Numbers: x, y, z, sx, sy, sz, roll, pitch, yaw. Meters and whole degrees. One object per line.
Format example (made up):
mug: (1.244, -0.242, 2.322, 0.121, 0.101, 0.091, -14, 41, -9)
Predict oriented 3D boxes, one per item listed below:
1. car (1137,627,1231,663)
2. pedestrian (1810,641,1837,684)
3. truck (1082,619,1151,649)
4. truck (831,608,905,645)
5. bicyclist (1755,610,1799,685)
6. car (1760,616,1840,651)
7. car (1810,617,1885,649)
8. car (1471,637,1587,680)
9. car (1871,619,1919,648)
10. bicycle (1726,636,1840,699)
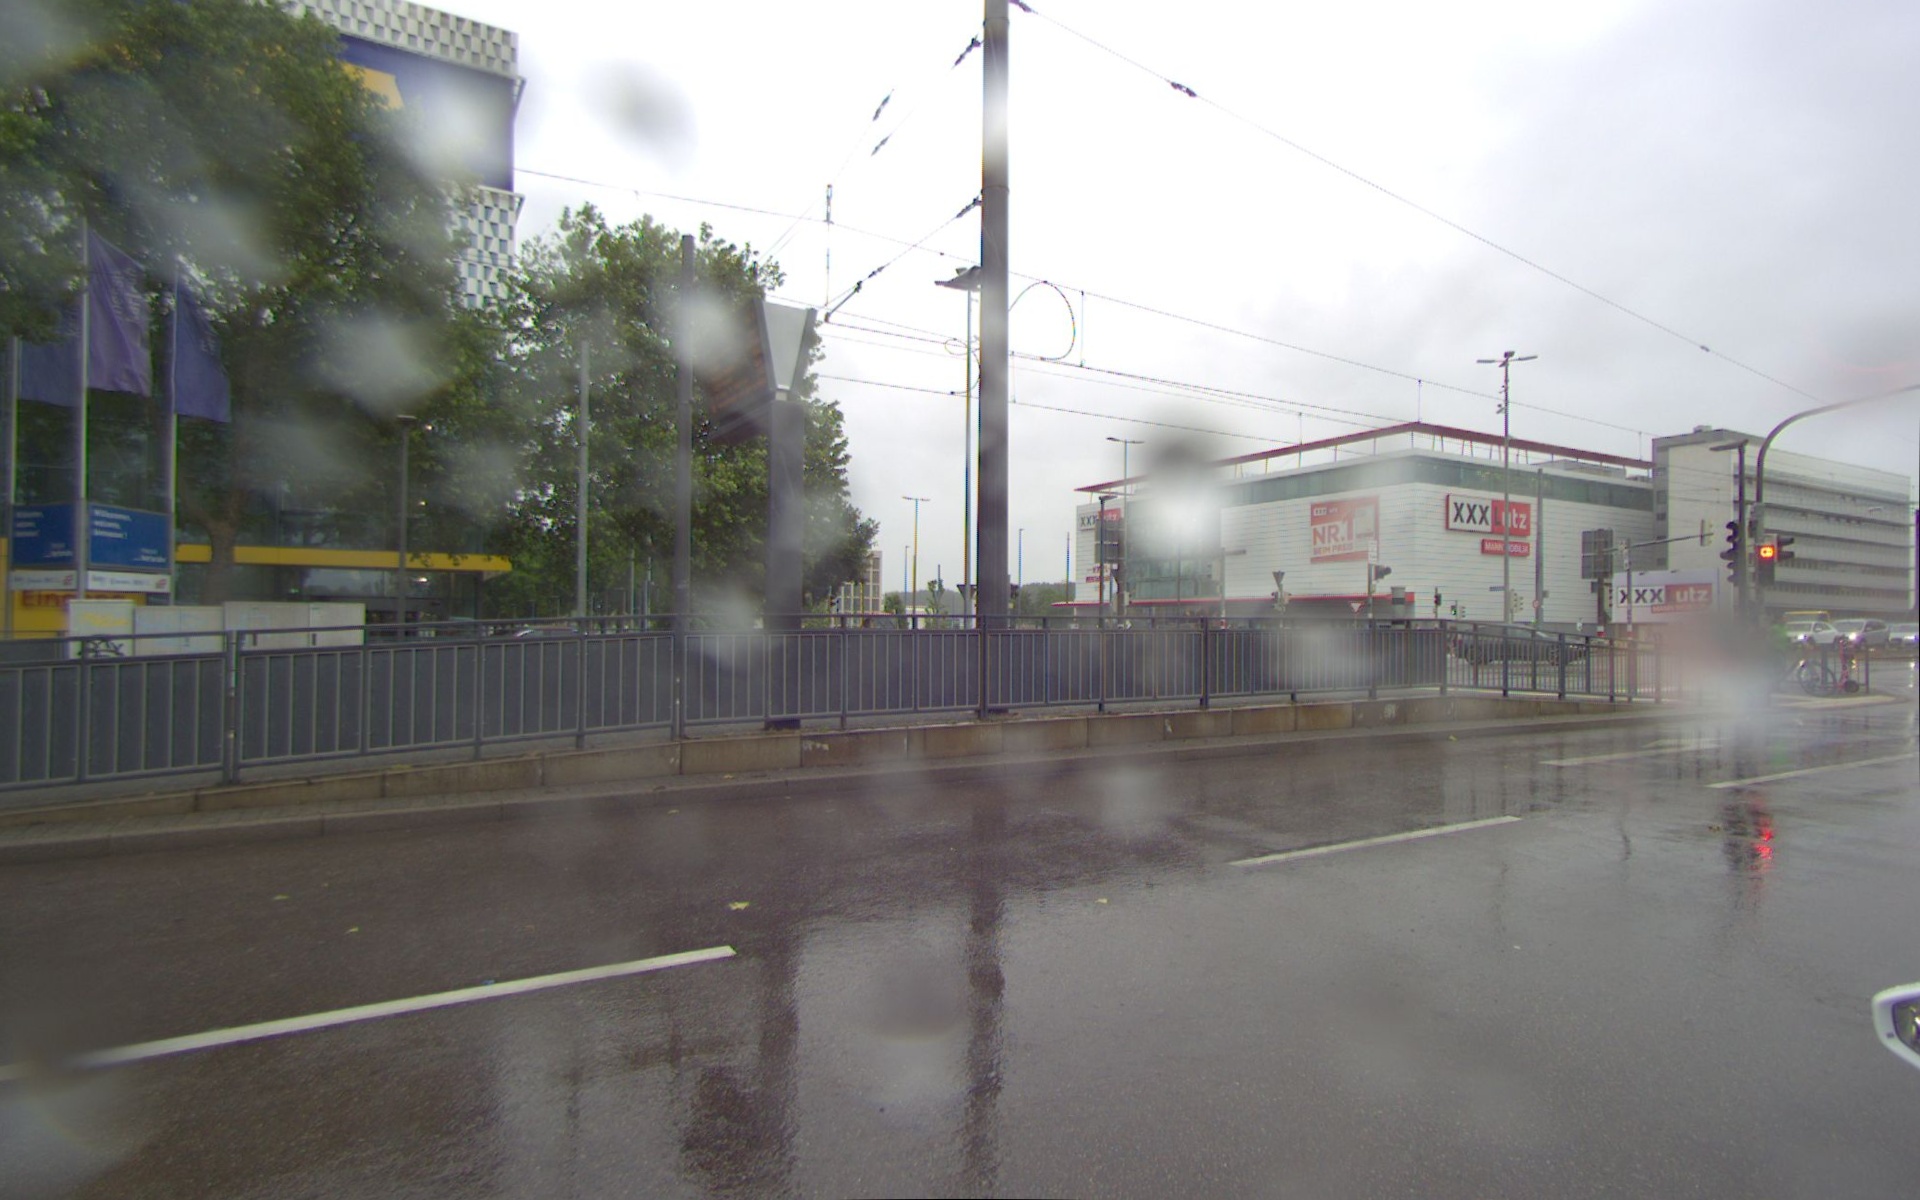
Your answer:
car: (10.575, 2.094, 47.559, 4.002, 1.394, 1.600, 3, 1, 40)
pedestrian: (18.487, 1.333, 21.514, 0.376, 0.909, 0.313, 1, 2, -32)
truck: (12.162, 2.602, 78.367, 1.990, 1.968, 5.847, 3, 1, -31)
truck: (-6.867, 1.901, 73.694, 2.445, 2.240, 7.329, 3, 1, -31)
bicyclist: (16.811, 0.964, 20.676, 0.596, 1.511, 0.597, 1, 1, -44)
car: (39.809, 1.590, 47.618, 3.765, 1.445, 1.702, 3, 1, -30)
car: (44.787, 1.670, 50.672, 3.765, 1.445, 1.702, 3, 1, -30)
car: (20.243, 2.063, 35.759, 3.476, 1.223, 1.436, 3, 1, 34)
car: (50.966, 1.826, 54.267, 3.527, 1.445, 1.552, 3, 1, -30)
bicycle: (16.842, 1.349, 20.583, 0.516, 1.153, 1.736, 1, 1, -44)
